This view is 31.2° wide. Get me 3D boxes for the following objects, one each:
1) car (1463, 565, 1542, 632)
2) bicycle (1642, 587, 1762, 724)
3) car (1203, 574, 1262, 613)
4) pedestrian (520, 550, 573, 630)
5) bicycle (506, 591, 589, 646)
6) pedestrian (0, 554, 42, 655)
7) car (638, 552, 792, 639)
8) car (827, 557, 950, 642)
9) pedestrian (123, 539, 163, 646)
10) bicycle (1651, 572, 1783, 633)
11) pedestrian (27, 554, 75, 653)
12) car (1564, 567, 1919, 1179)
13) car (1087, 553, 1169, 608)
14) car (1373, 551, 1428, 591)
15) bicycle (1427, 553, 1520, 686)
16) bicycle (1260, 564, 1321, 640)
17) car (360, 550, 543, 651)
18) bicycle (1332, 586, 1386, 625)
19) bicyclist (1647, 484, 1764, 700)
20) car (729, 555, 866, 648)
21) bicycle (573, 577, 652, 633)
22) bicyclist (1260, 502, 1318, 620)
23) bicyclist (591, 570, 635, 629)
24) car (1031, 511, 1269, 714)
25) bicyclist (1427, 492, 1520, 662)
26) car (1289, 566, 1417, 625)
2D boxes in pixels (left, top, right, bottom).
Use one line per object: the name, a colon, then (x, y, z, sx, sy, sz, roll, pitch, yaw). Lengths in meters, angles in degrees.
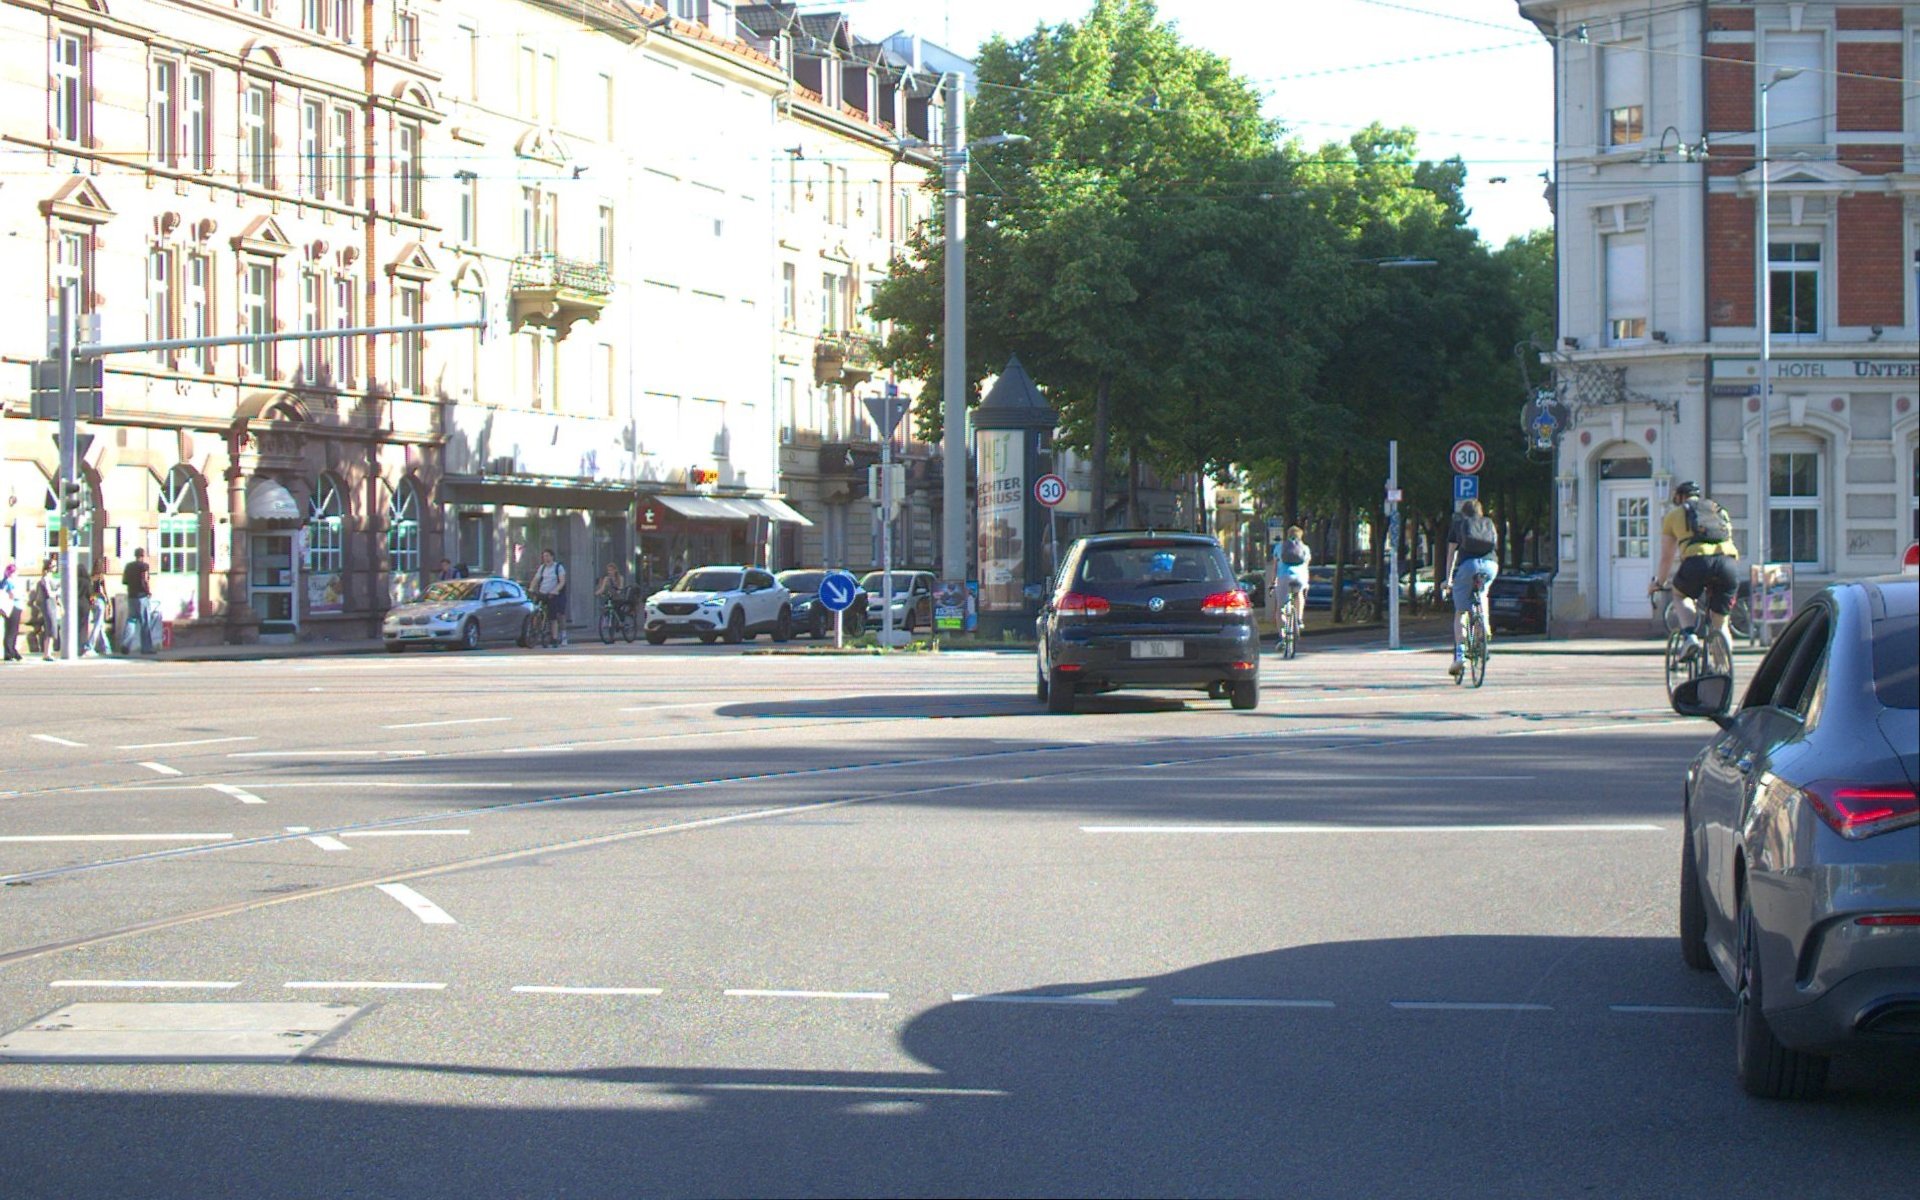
car: (13.061, -0.053, 82.604, 1.692, 1.559, 3.839, 1, 1, 11)
bicycle: (5.887, 0.419, 27.212, 0.755, 1.027, 1.779, 1, 1, 17)
car: (10.799, -0.270, 136.135, 1.560, 1.508, 3.653, 1, 1, 17)
pedestrian: (-7.835, -0.190, 65.219, 0.821, 1.507, 0.598, 1, 0, 15)
bicycle: (-7.821, 0.337, 65.298, 0.763, 1.004, 2.395, 1, 1, 13)
pedestrian: (-15.338, 0.073, 55.916, 0.633, 1.628, 0.701, 1, 0, -4)
car: (-4.773, -0.103, 67.425, 1.994, 1.612, 3.998, 1, 1, 11)
car: (-1.631, -0.020, 79.809, 1.994, 1.897, 3.998, 1, 1, 11)
pedestrian: (-14.495, -0.137, 60.983, 0.464, 1.875, 0.635, 1, 0, 10)
bicycle: (12.577, 0.038, 57.136, 2.049, 0.994, 0.630, 0, 0, 3)
pedestrian: (-15.137, 0.056, 57.262, 0.633, 1.628, 0.701, 1, 0, -4)
car: (3.133, 0.623, 10.195, 1.907, 1.415, 4.493, 1, 1, 0)
car: (6.001, -0.692, 122.649, 1.995, 1.897, 3.997, 1, 1, 17)
car: (17.273, -1.131, 134.721, 1.560, 1.508, 3.653, 1, 1, 17)
bicycle: (4.910, 0.172, 32.955, 0.755, 1.232, 1.702, 1, 1, 5)
bicycle: (4.602, 0.022, 47.946, 0.649, 1.028, 1.771, 1, 1, -1)
car: (-9.886, -0.006, 67.124, 1.995, 1.897, 3.997, 1, 1, 17)
bicycle: (11.498, 0.163, 99.082, 0.626, 1.081, 1.703, 1, 1, -31)
bicyclist: (5.847, -0.066, 26.948, 0.806, 1.657, 0.883, 1, 0, 17)
car: (-3.437, 0.018, 73.515, 1.994, 1.897, 3.998, 1, 1, 11)
bicycle: (-7.096, 0.090, 70.320, 0.651, 1.119, 2.250, 1, 1, 21)
bicyclist: (4.583, -0.543, 47.910, 0.689, 1.627, 0.883, 1, 0, -1)
bicyclist: (-7.091, -0.010, 70.286, 0.632, 1.181, 0.684, 1, 0, 21)
car: (1.538, 0.049, 29.122, 1.728, 1.502, 4.051, 1, 2, -1)
bicyclist: (4.934, -0.222, 33.083, 0.806, 1.601, 0.883, 1, 0, 5)
car: (13.154, -0.171, 114.985, 3.990, 1.897, 1.998, 1, 1, 16)
